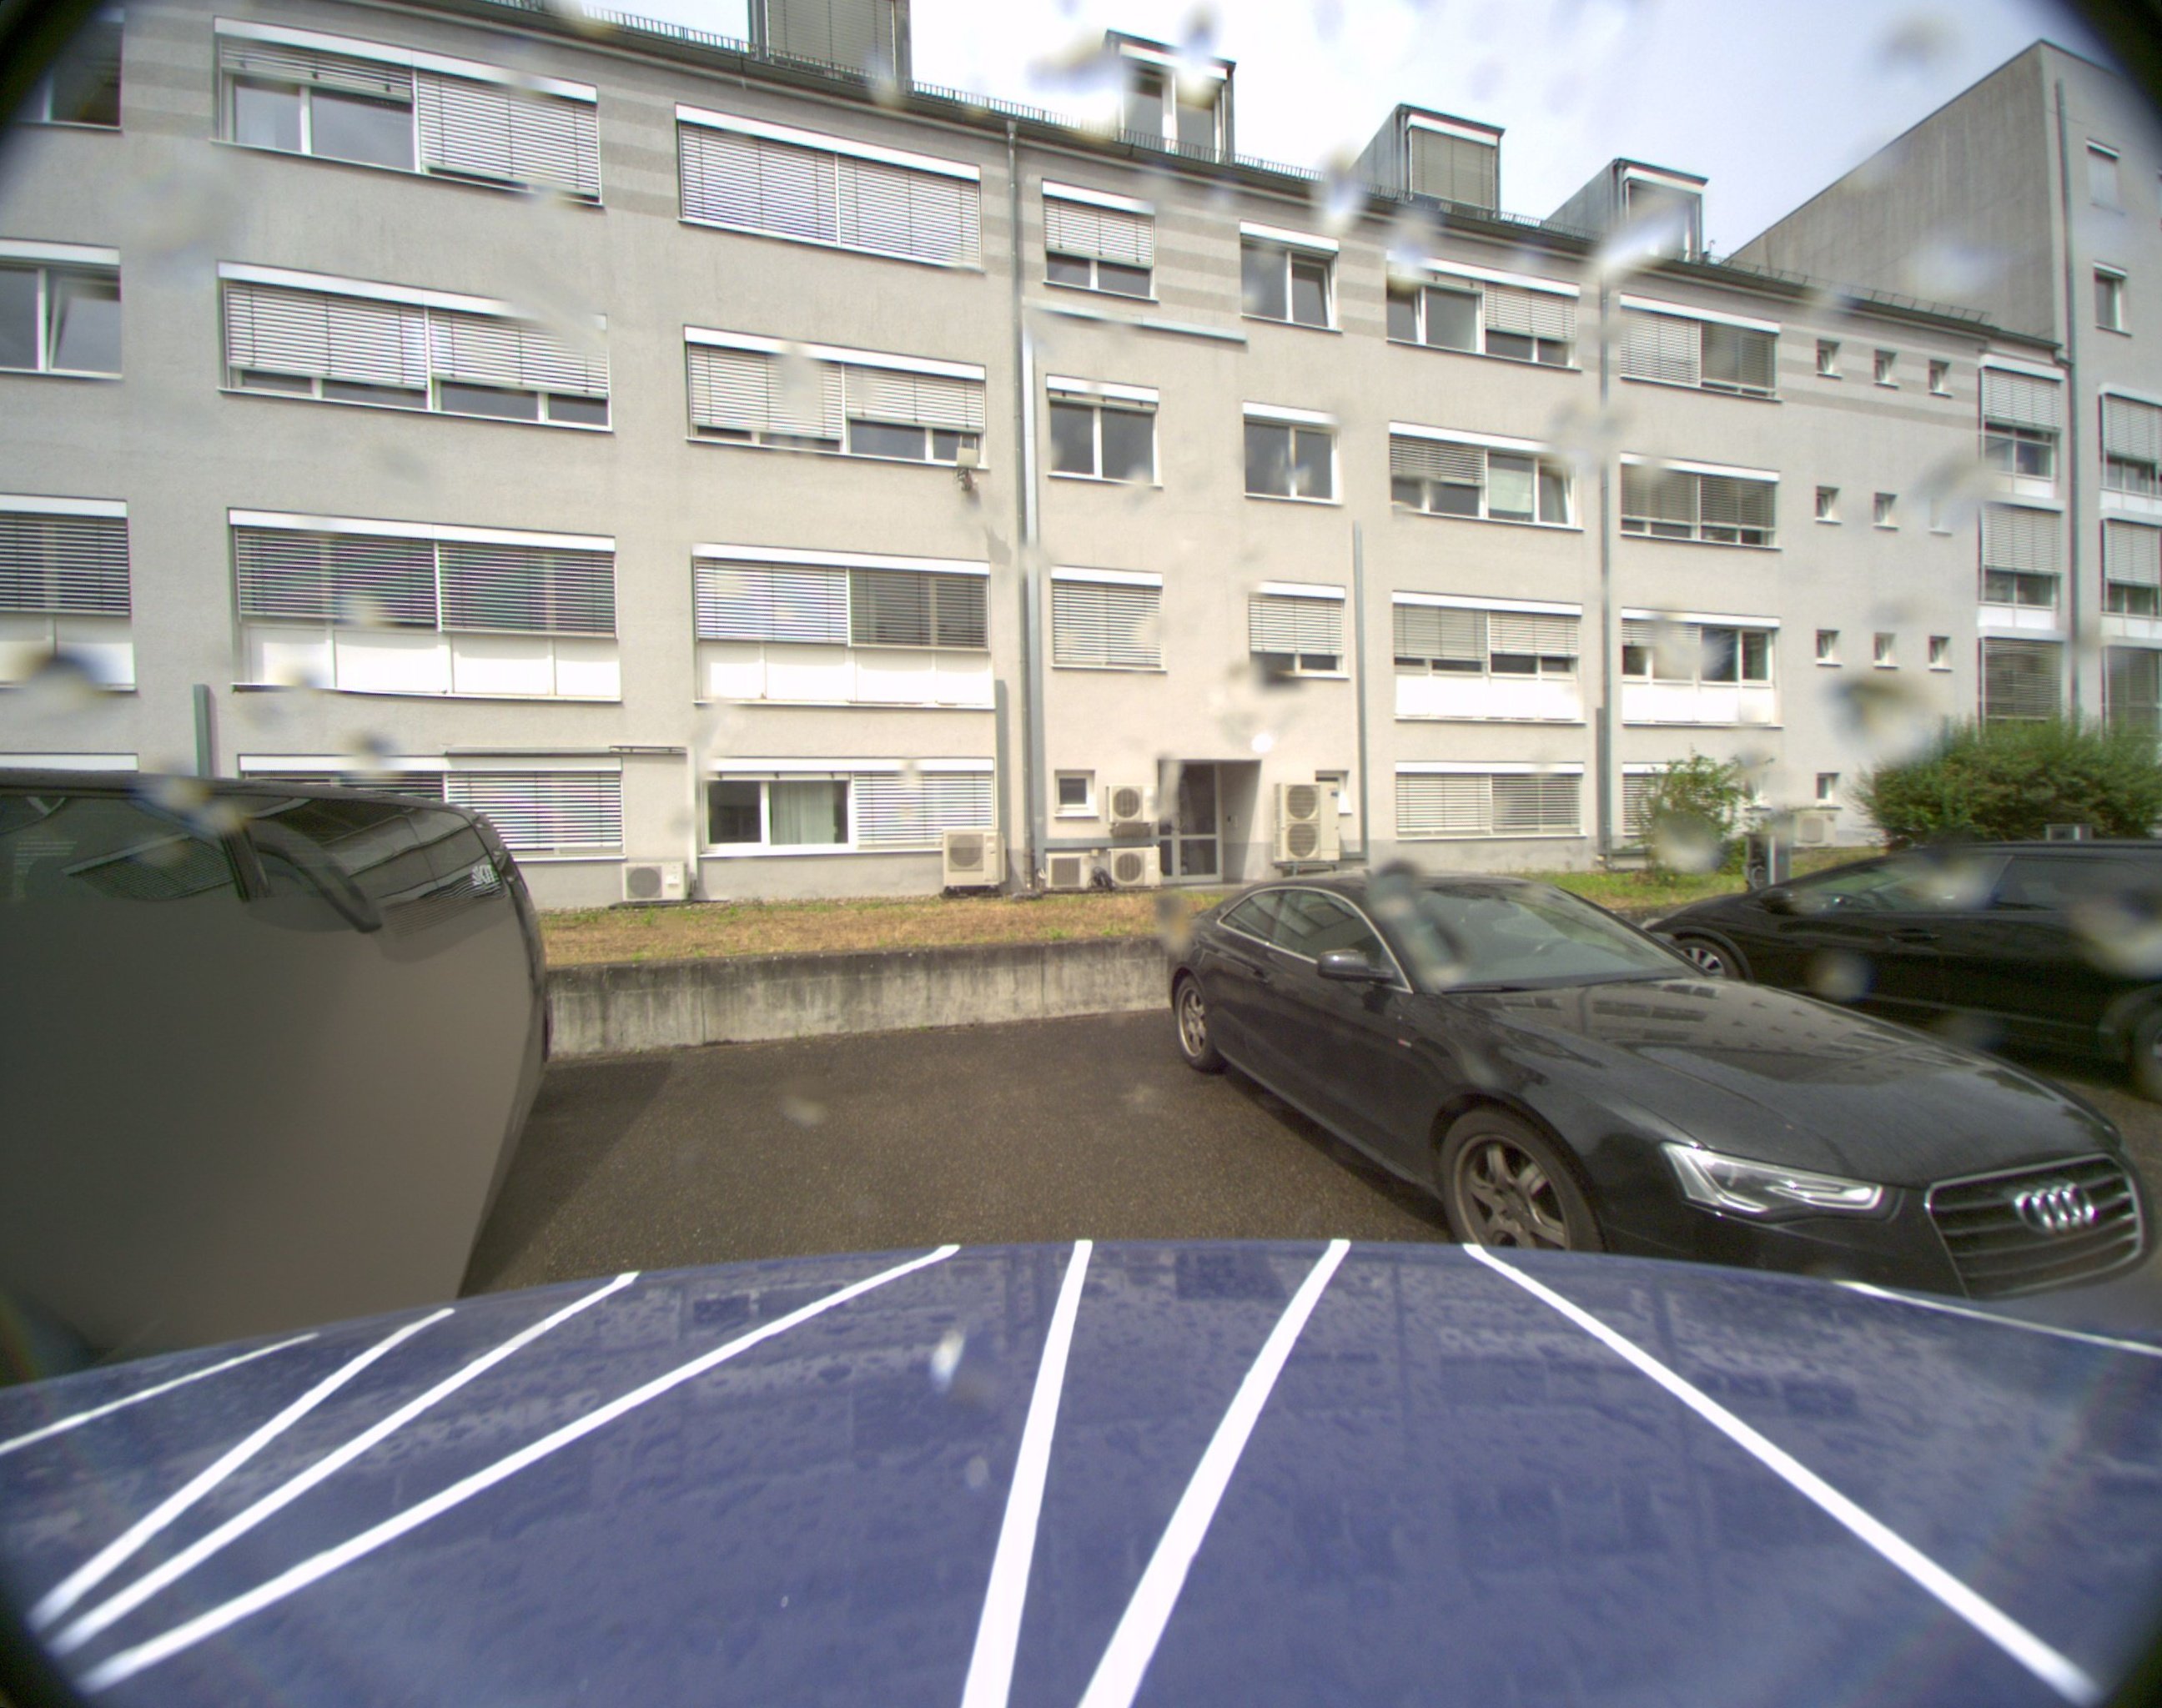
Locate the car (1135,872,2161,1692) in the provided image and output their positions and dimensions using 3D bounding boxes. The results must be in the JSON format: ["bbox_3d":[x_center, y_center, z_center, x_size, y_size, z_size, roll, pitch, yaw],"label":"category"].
[{"bbox_3d":[1.822,0.907,3.886,1.764,1.344,4.522,-2,2,-14],"label":"car"}]

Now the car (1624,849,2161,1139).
[{"bbox_3d":[6.345,0.744,5.065,1.764,1.434,4.309,-2,2,-15],"label":"car"}]

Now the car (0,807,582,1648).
[{"bbox_3d":[-3.618,0.830,2.369,1.971,1.854,4.740,-2,2,-15],"label":"car"}]

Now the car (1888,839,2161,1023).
[{"bbox_3d":[9.639,0.628,6.035,1.697,1.434,4.119,-2,2,-13],"label":"car"}]
